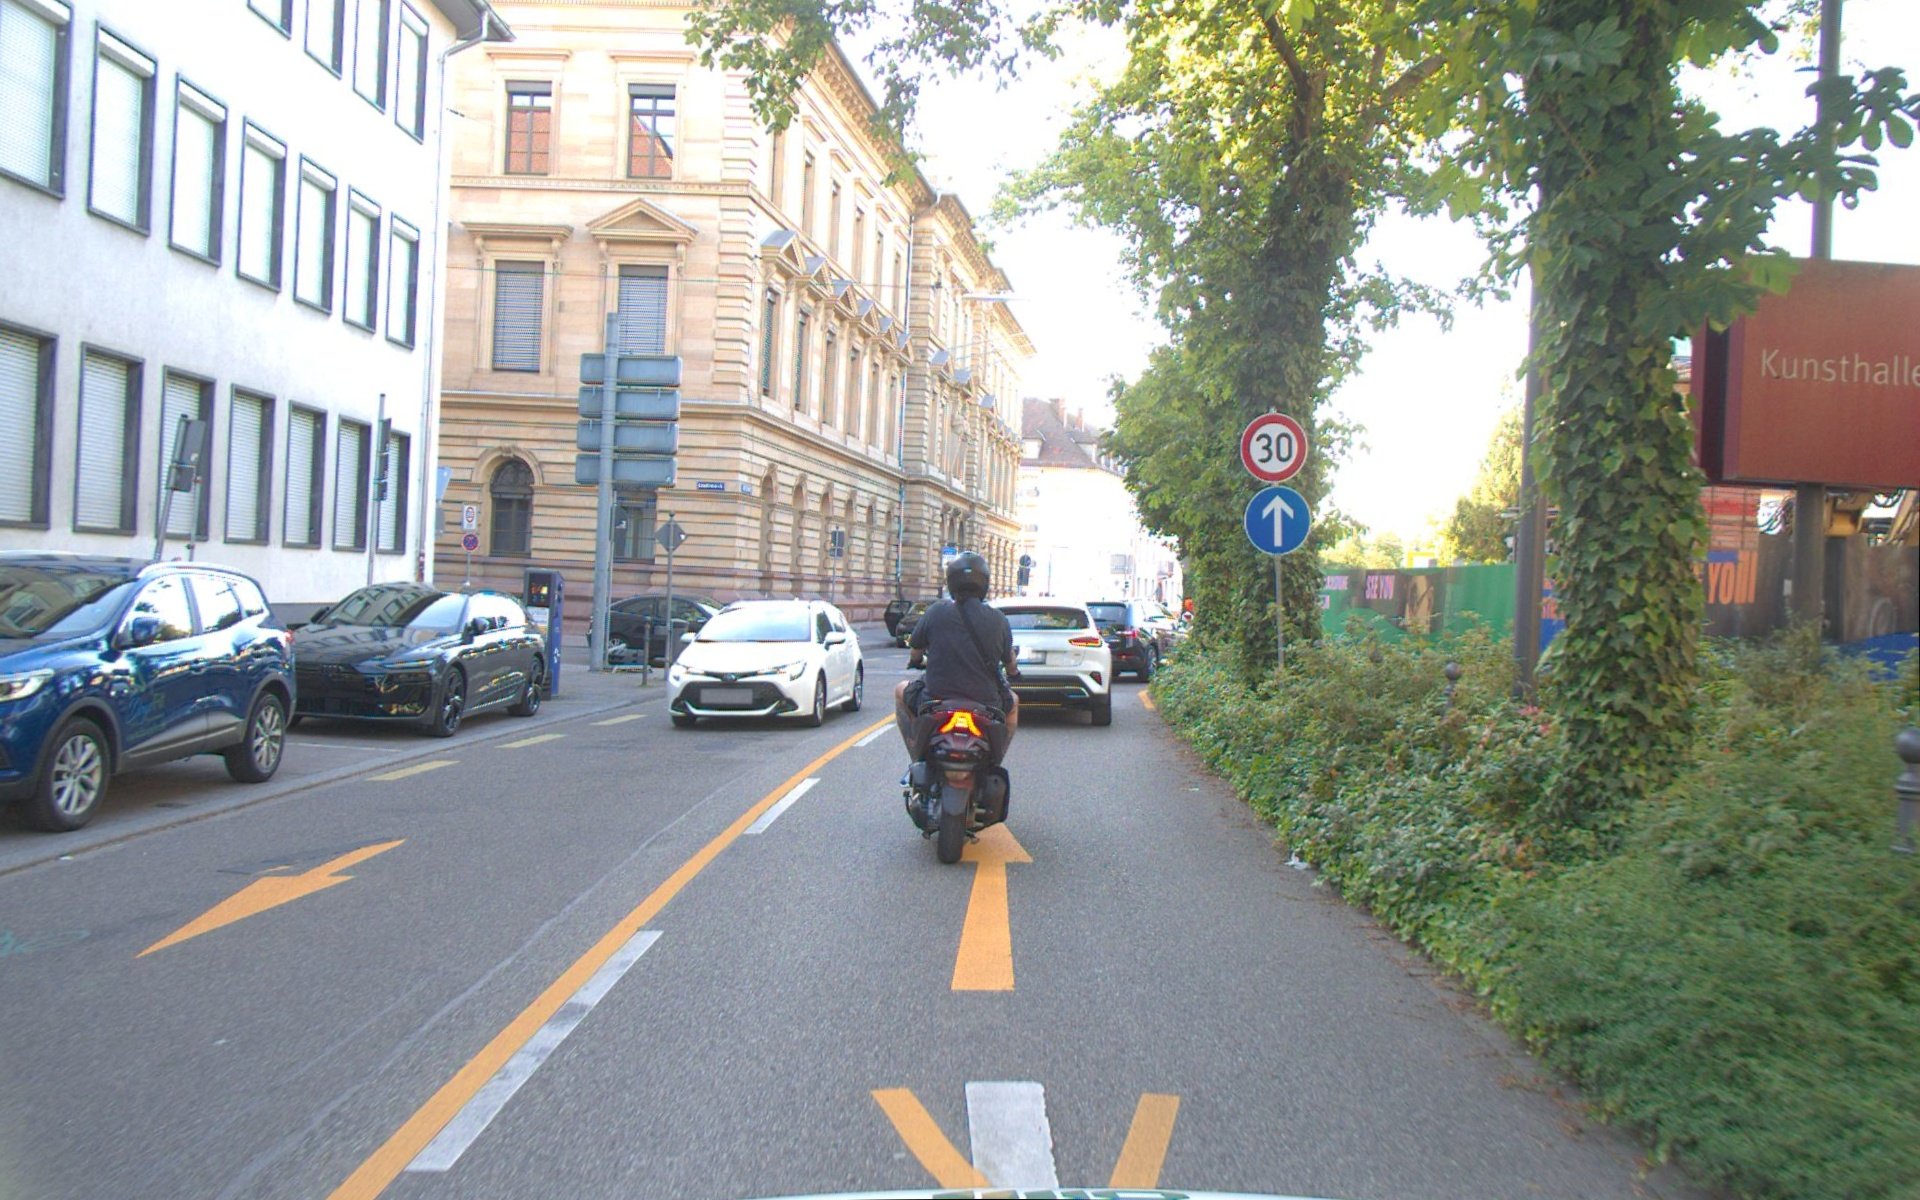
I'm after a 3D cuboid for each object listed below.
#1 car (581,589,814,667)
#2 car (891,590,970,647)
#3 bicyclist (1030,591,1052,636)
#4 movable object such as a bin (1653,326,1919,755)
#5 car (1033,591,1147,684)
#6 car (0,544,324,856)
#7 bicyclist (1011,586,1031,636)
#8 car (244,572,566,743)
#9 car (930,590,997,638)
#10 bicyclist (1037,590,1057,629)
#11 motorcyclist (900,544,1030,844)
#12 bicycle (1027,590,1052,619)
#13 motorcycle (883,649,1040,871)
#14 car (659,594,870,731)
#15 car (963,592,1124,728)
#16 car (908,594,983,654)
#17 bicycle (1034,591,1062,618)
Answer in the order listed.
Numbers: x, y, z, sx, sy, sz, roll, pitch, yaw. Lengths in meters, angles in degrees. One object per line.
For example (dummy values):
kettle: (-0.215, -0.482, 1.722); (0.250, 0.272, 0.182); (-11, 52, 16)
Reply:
car: (-5.222, 0.540, 33.092); (4.221, 1.414, 1.777); (1, 0, 10)
car: (-0.843, 0.532, 50.290); (1.951, 1.594, 4.291); (1, 0, 5)
bicyclist: (3.027, 0.487, 61.702); (0.615, 1.642, 0.870); (1, 0, 15)
movable object such as a bin: (12.150, -0.628, 21.495); (3.238, 4.618, 7.908); (2, 0, 3)
car: (2.457, 0.642, 30.439); (1.801, 1.489, 4.060); (3, 0, 7)
car: (-6.113, 0.502, 11.110); (1.894, 1.696, 4.348); (2, 0, 1)
bicyclist: (2.105, 0.386, 57.064); (0.554, 1.696, 0.835); (1, 0, 7)
car: (-5.860, 0.533, 18.149); (1.786, 1.529, 4.760); (3, 0, 1)
car: (0.147, 0.457, 57.415); (1.951, 1.555, 4.187); (1, 0, 5)
bicyclist: (3.516, 0.378, 66.876); (0.615, 1.581, 0.732); (1, 0, 20)
motorcyclist: (0.041, 0.537, 9.806); (0.643, 1.679, 0.651); (3, 0, 3)
bicycle: (2.981, 0.145, 61.698); (0.521, 1.053, 1.908); (1, 0, 15)
motorcycle: (0.040, 0.879, 9.703); (0.780, 1.084, 1.726); (3, 0, 2)
car: (-2.253, 0.676, 20.221); (1.698, 1.446, 4.431); (-1, 0, 4)
car: (0.954, 0.665, 20.686); (1.813, 1.506, 4.058); (0, 0, 0)
car: (-0.332, 0.599, 44.025); (1.733, 1.486, 4.471); (1, 0, 2)
bicycle: (3.556, 0.170, 66.841); (0.522, 1.053, 2.036); (1, 0, 20)
